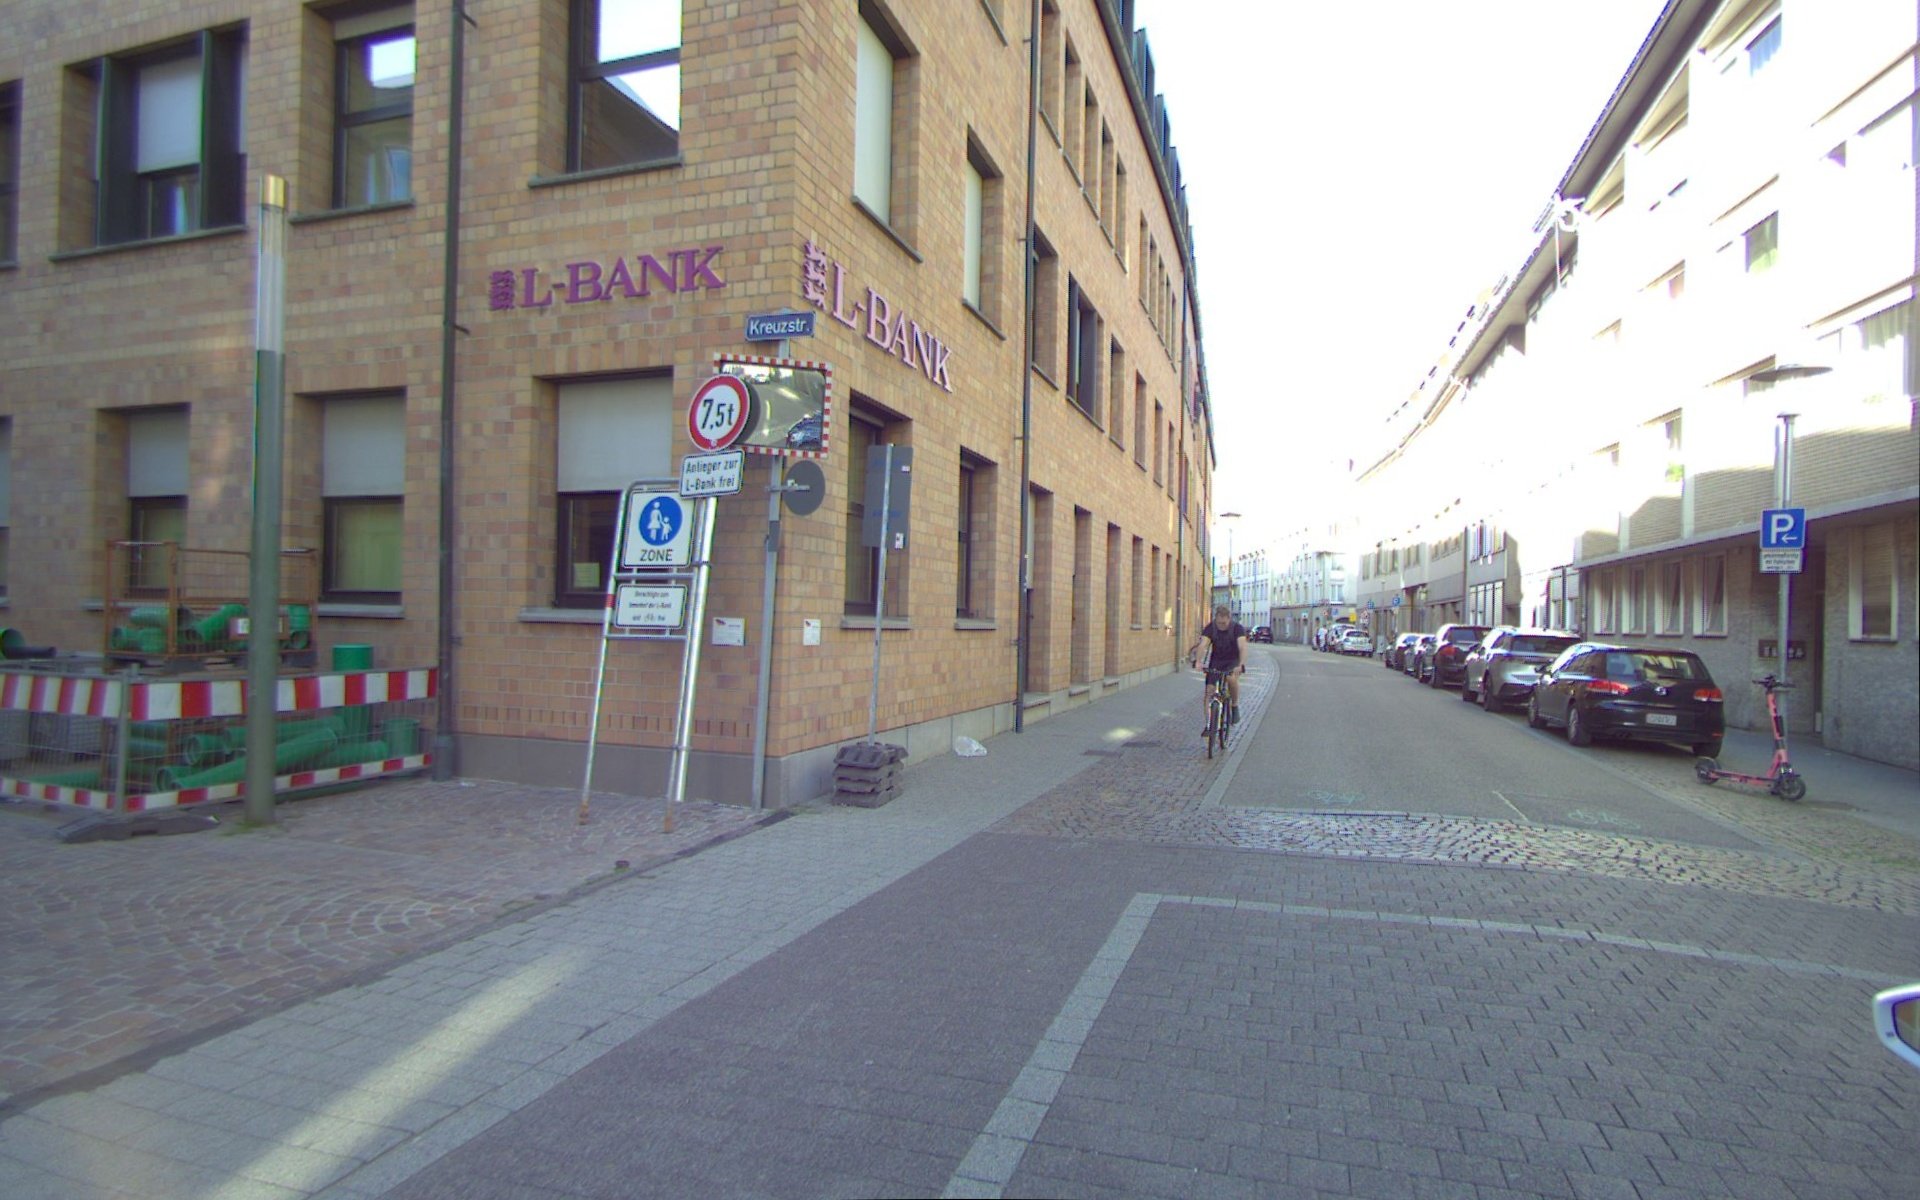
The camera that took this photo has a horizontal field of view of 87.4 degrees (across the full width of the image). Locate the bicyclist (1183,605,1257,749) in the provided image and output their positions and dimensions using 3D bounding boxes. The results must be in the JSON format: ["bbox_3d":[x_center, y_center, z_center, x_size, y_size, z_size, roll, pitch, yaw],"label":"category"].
[{"bbox_3d":[3.168,0.923,12.213,0.652,1.664,0.925,-3,-3,25],"label":"bicyclist"}]

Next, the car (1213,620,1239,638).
[{"bbox_3d":[31.174,3.409,117.806,2.018,2.040,4.176,2,-1,1],"label":"car"}]

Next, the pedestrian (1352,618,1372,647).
[{"bbox_3d":[26.296,2.103,65.674,1.024,1.825,1.199,1,-1,13],"label":"pedestrian"}]

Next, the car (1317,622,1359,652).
[{"bbox_3d":[24.594,2.404,65.507,1.799,1.814,5.217,2,-1,13],"label":"car"}]

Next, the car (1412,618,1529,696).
[{"bbox_3d":[13.758,1.469,27.389,2.068,1.809,5.052,3,0,19],"label":"car"}]

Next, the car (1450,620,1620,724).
[{"bbox_3d":[11.435,1.337,20.359,1.960,1.724,4.844,4,0,18],"label":"car"}]

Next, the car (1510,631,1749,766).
[{"bbox_3d":[9.825,1.320,15.184,1.793,1.524,4.600,4,0,19],"label":"car"}]

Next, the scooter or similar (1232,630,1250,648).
[{"bbox_3d":[19.880,2.739,71.003,0.690,1.233,1.350,0,-1,41],"label":"scooter or similar"}]

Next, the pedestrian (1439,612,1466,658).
[{"bbox_3d":[18.731,1.326,38.205,0.775,1.744,0.746,-1,-1,18],"label":"pedestrian"}]

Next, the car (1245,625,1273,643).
[{"bbox_3d":[30.126,3.396,101.184,1.934,1.714,4.103,3,-1,6],"label":"car"}]

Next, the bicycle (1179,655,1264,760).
[{"bbox_3d":[3.234,1.275,12.319,0.641,1.146,1.734,-3,-3,25],"label":"bicycle"}]

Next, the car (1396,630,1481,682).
[{"bbox_3d":[15.726,1.795,33.247,1.777,1.431,4.792,3,0,17],"label":"car"}]

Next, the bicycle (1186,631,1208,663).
[{"bbox_3d":[9.346,1.841,39.600,0.620,1.178,1.805,4,0,9],"label":"bicycle"}]

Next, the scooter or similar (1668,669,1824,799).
[{"bbox_3d":[8.280,1.383,10.645,0.485,1.210,1.304,2,-1,-9],"label":"scooter or similar"}]

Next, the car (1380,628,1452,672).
[{"bbox_3d":[17.598,1.865,38.986,1.862,1.472,5.227,3,-1,17],"label":"car"}]

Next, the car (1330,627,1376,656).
[{"bbox_3d":[23.175,2.424,59.356,1.809,1.497,4.170,4,0,13],"label":"car"}]
